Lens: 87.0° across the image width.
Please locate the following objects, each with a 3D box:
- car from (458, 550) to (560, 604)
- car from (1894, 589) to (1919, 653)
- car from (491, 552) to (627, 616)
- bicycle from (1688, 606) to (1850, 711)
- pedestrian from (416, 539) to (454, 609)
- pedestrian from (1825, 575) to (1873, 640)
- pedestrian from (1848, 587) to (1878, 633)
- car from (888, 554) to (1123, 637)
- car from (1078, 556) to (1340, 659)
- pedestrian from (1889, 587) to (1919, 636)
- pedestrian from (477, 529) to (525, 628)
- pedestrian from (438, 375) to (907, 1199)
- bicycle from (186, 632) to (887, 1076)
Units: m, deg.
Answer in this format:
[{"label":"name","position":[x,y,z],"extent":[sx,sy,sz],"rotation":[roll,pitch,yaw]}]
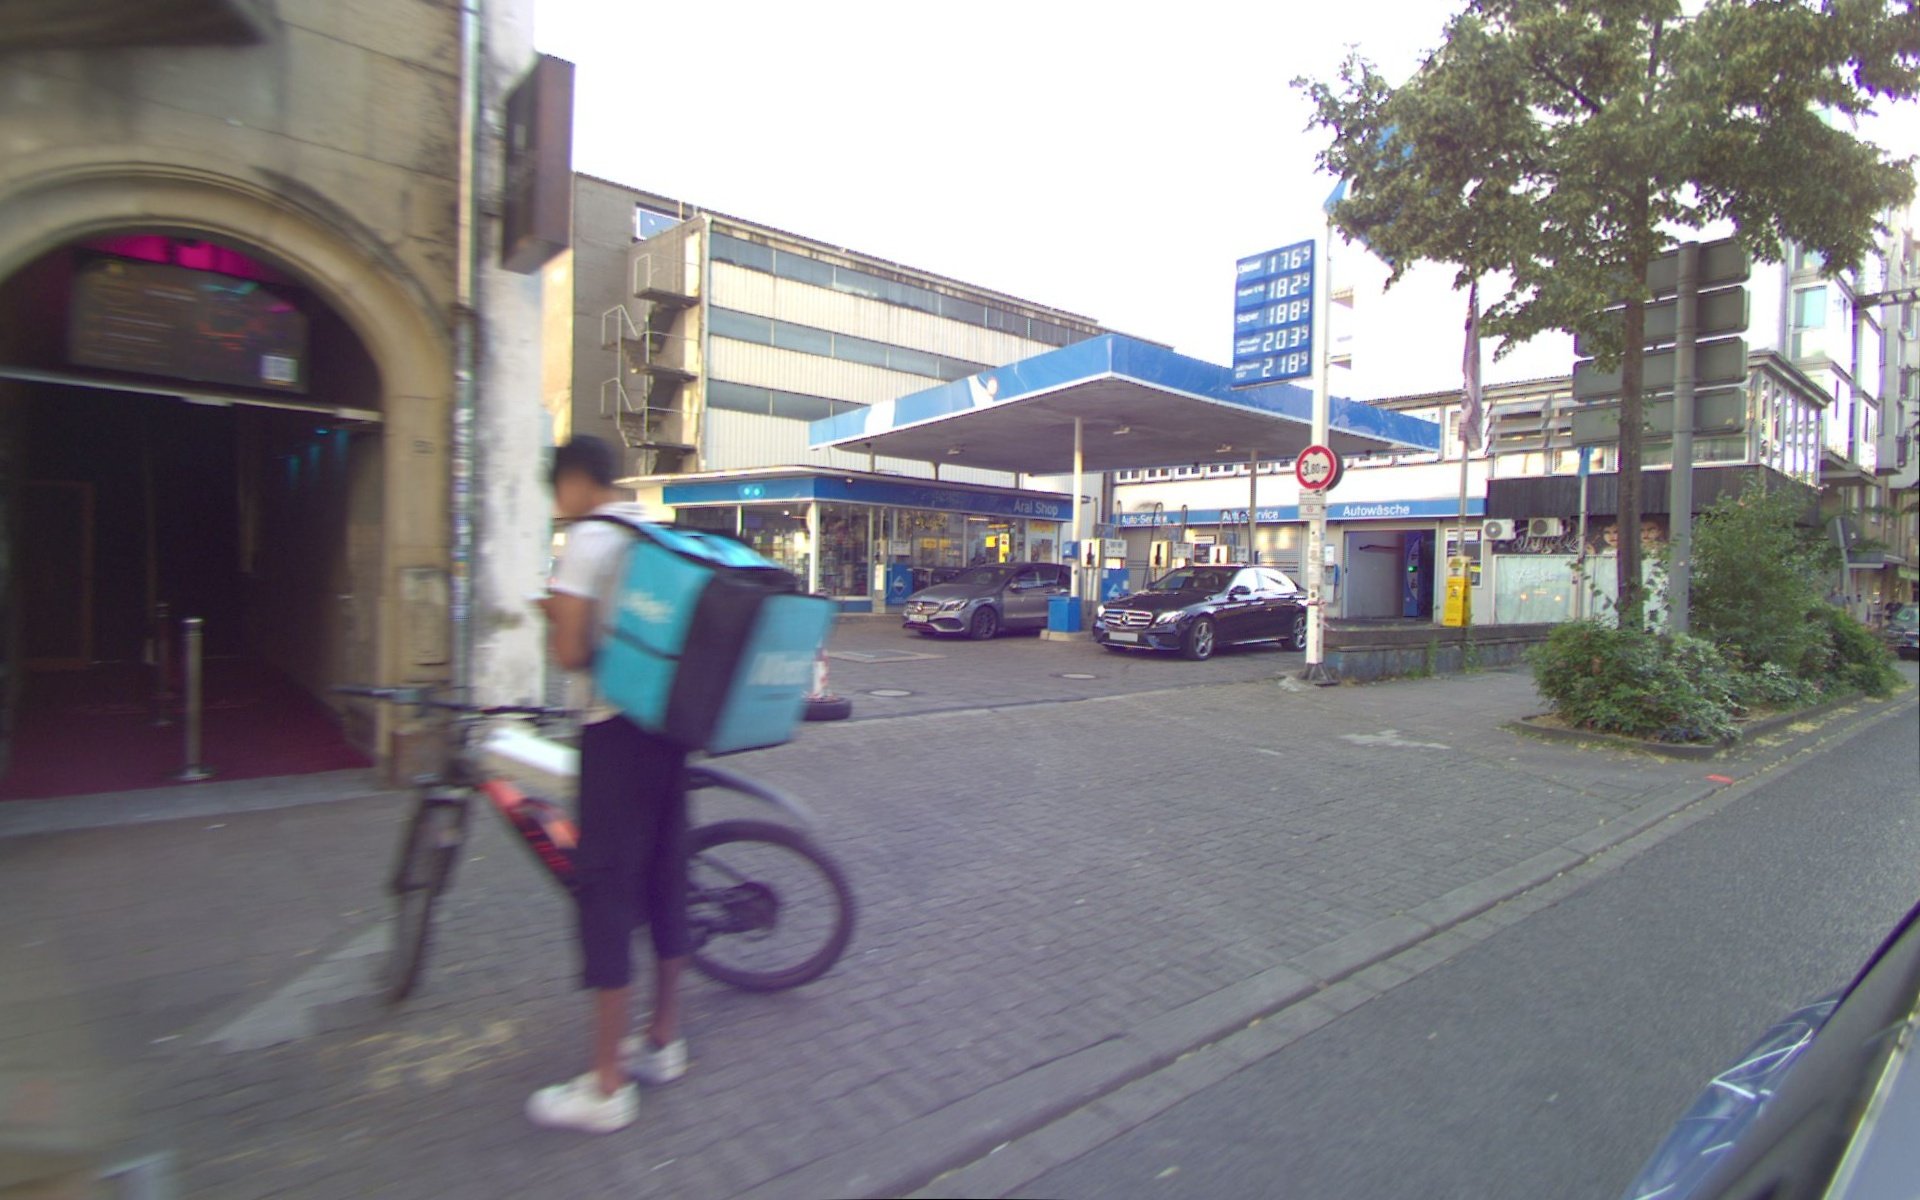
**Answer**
[{"label":"car","position":[-13.182,-0.701,29.490],"extent":[1.701,1.461,3.899],"rotation":[0,2,-40]},{"label":"car","position":[25.266,0.546,25.691],"extent":[4.767,1.506,1.832],"rotation":[0,4,-43]},{"label":"car","position":[-9.968,-0.450,24.964],"extent":[1.869,1.419,4.231],"rotation":[0,2,-40]},{"label":"bicycle","position":[9.757,0.703,12.214],"extent":[1.646,1.157,0.485],"rotation":[2,3,-10]},{"label":"pedestrian","position":[-12.892,-0.636,24.846],"extent":[0.637,1.674,0.692],"rotation":[1,1,-41]},{"label":"pedestrian","position":[25.905,0.214,29.490],"extent":[0.979,1.816,0.857],"rotation":[0,2,-41]},{"label":"pedestrian","position":[30.909,0.344,34.653],"extent":[0.759,1.544,0.612],"rotation":[1,2,-40]},{"label":"car","position":[0.990,-0.152,19.692],"extent":[4.676,1.419,1.714],"rotation":[-1,4,-41]},{"label":"car","position":[4.239,0.039,16.774],"extent":[4.823,1.448,1.738],"rotation":[-1,4,-41]},{"label":"pedestrian","position":[34.806,0.422,37.219],"extent":[0.688,1.725,0.789],"rotation":[1,2,-40]},{"label":"pedestrian","position":[-8.238,-0.379,18.162],"extent":[0.643,1.737,0.548],"rotation":[2,1,-38]},{"label":"pedestrian","position":[-0.816,0.403,2.813],"extent":[1.013,1.847,0.769],"rotation":[5,3,40]},{"label":"bicycle","position":[-1.226,0.738,3.286],"extent":[1.889,1.112,0.868],"rotation":[3,2,-1]}]
